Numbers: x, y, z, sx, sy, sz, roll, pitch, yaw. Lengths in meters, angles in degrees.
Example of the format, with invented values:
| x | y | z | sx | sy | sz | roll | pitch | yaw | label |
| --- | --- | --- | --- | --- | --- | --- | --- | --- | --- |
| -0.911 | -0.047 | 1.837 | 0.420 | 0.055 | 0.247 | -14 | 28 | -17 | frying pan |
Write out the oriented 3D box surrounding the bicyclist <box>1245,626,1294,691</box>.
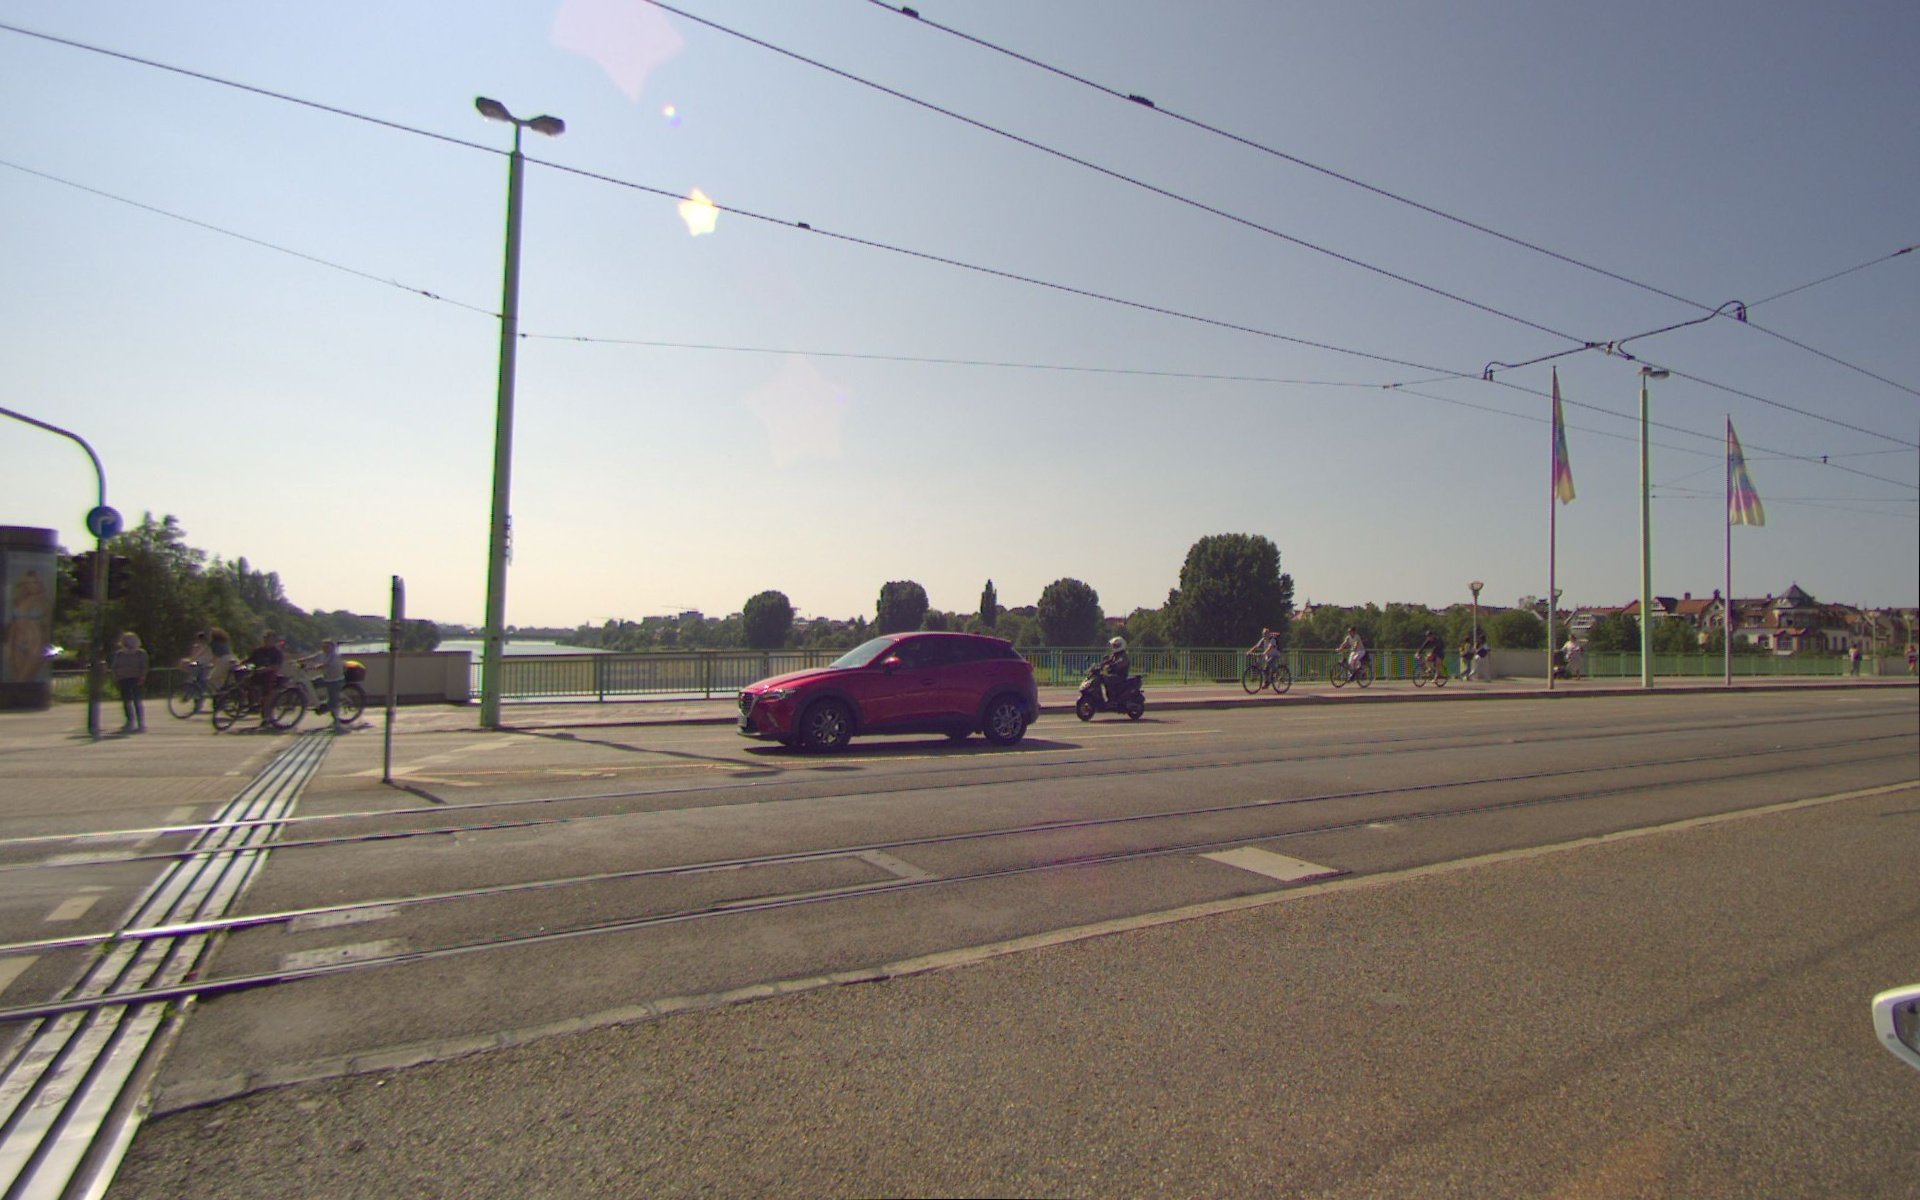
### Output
| x | y | z | sx | sy | sz | roll | pitch | yaw | label |
| --- | --- | --- | --- | --- | --- | --- | --- | --- | --- |
| 8.027 | 1.501 | 26.055 | 0.762 | 1.630 | 0.873 | -1 | -2 | -29 | bicyclist |

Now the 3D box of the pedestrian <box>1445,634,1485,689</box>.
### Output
| x | y | z | sx | sy | sz | roll | pitch | yaw | label |
| --- | --- | --- | --- | --- | --- | --- | --- | --- | --- |
| 17.802 | 2.144 | 35.413 | 1.109 | 1.874 | 0.734 | 1 | 1 | -33 | pedestrian |

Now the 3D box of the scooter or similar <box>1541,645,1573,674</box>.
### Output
| x | y | z | sx | sy | sz | roll | pitch | yaw | label |
| --- | --- | --- | --- | --- | --- | --- | --- | --- | --- |
| 22.738 | 2.247 | 38.229 | 0.824 | 1.043 | 0.734 | 1 | 1 | -33 | scooter or similar |

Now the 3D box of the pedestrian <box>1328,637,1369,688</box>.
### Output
| x | y | z | sx | sy | sz | roll | pitch | yaw | label |
| --- | --- | --- | --- | --- | --- | --- | --- | --- | --- |
| 11.441 | 1.837 | 29.595 | 0.889 | 1.474 | 0.739 | 2 | -2 | -31 | pedestrian |

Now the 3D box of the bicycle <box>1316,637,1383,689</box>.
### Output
| x | y | z | sx | sy | sz | roll | pitch | yaw | label |
| --- | --- | --- | --- | --- | --- | --- | --- | --- | --- |
| 11.492 | 1.830 | 29.611 | 2.140 | 1.418 | 0.700 | 1 | 2 | -34 | bicycle |

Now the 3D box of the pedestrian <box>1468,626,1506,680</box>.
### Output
| x | y | z | sx | sy | sz | roll | pitch | yaw | label |
| --- | --- | --- | --- | --- | --- | --- | --- | --- | --- |
| 18.256 | 1.827 | 34.798 | 0.947 | 1.808 | 0.734 | 1 | 1 | -33 | pedestrian |

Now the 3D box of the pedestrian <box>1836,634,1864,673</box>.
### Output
| x | y | z | sx | sy | sz | roll | pitch | yaw | label |
| --- | --- | --- | --- | --- | --- | --- | --- | --- | --- |
| 47.523 | 2.851 | 53.641 | 1.031 | 2.040 | 0.893 | 1 | -2 | -33 | pedestrian |

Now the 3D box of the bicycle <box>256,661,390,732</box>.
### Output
| x | y | z | sx | sy | sz | roll | pitch | yaw | label |
| --- | --- | --- | --- | --- | --- | --- | --- | --- | --- |
| -11.182 | 1.667 | 17.722 | 0.746 | 1.128 | 1.920 | 0 | -2 | 20 | bicycle |

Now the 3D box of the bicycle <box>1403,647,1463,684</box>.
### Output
| x | y | z | sx | sy | sz | roll | pitch | yaw | label |
| --- | --- | --- | --- | --- | --- | --- | --- | --- | --- |
| 14.614 | 2.014 | 31.025 | 1.898 | 1.128 | 0.755 | 2 | -2 | -31 | bicycle |

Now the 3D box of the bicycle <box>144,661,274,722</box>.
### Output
| x | y | z | sx | sy | sz | roll | pitch | yaw | label |
| --- | --- | --- | --- | --- | --- | --- | --- | --- | --- |
| -14.570 | 1.765 | 19.532 | 1.883 | 1.128 | 0.761 | 1 | -2 | -3 | bicycle |

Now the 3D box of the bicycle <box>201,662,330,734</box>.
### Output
| x | y | z | sx | sy | sz | roll | pitch | yaw | label |
| --- | --- | --- | --- | --- | --- | --- | --- | --- | --- |
| -12.171 | 1.689 | 17.681 | 0.746 | 1.128 | 1.922 | 0 | -2 | 8 | bicycle |

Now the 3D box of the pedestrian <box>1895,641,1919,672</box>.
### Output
| x | y | z | sx | sy | sz | roll | pitch | yaw | label |
| --- | --- | --- | --- | --- | --- | --- | --- | --- | --- |
| 53.551 | 3.207 | 56.823 | 1.163 | 1.745 | 0.750 | 2 | -2 | -33 | pedestrian |

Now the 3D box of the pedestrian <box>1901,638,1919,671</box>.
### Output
| x | y | z | sx | sy | sz | roll | pitch | yaw | label |
| --- | --- | --- | --- | --- | --- | --- | --- | --- | --- |
| 52.666 | 2.995 | 55.217 | 1.281 | 1.781 | 1.091 | 1 | -2 | -33 | pedestrian |

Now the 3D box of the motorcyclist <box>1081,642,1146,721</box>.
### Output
| x | y | z | sx | sy | sz | roll | pitch | yaw | label |
| --- | --- | --- | --- | --- | --- | --- | --- | --- | --- |
| 2.909 | 1.518 | 19.049 | 0.888 | 1.420 | 0.840 | 1 | -1 | -33 | motorcyclist |

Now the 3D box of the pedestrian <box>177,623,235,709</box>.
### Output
| x | y | z | sx | sy | sz | roll | pitch | yaw | label |
| --- | --- | --- | --- | --- | --- | --- | --- | --- | --- |
| -16.245 | 1.418 | 21.646 | 0.687 | 1.815 | 0.696 | -1 | -2 | 16 | pedestrian |

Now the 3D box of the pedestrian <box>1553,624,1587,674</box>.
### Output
| x | y | z | sx | sy | sz | roll | pitch | yaw | label |
| --- | --- | --- | --- | --- | --- | --- | --- | --- | --- |
| 23.506 | 1.867 | 38.718 | 0.965 | 1.878 | 0.734 | 1 | 1 | -33 | pedestrian |

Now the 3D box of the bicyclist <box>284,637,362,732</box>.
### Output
| x | y | z | sx | sy | sz | roll | pitch | yaw | label |
| --- | --- | --- | --- | --- | --- | --- | --- | --- | --- |
| -11.205 | 1.463 | 17.686 | 0.862 | 1.630 | 0.772 | 0 | -2 | 20 | bicyclist |

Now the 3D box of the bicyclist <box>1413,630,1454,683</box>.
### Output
| x | y | z | sx | sy | sz | roll | pitch | yaw | label |
| --- | --- | --- | --- | --- | --- | --- | --- | --- | --- |
| 14.633 | 1.735 | 31.053 | 0.763 | 1.630 | 0.873 | 2 | -2 | -31 | bicyclist |

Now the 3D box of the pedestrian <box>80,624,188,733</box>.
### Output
| x | y | z | sx | sy | sz | roll | pitch | yaw | label |
| --- | --- | --- | --- | --- | --- | --- | --- | --- | --- |
| -14.554 | 1.344 | 17.730 | 0.921 | 1.826 | 1.159 | 0 | 0 | 16 | pedestrian |

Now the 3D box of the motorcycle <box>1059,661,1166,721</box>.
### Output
| x | y | z | sx | sy | sz | roll | pitch | yaw | label |
| --- | --- | --- | --- | --- | --- | --- | --- | --- | --- |
| 2.894 | 1.698 | 19.033 | 1.930 | 1.038 | 0.840 | 1 | -1 | -33 | motorcycle |

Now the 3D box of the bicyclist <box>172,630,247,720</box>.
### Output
| x | y | z | sx | sy | sz | roll | pitch | yaw | label |
| --- | --- | --- | --- | --- | --- | --- | --- | --- | --- |
| -14.566 | 1.440 | 19.513 | 0.757 | 1.696 | 0.880 | 1 | -2 | -2 | bicyclist |

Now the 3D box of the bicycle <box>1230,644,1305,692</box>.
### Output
| x | y | z | sx | sy | sz | roll | pitch | yaw | label |
| --- | --- | --- | --- | --- | --- | --- | --- | --- | --- |
| 7.964 | 1.745 | 26.010 | 1.897 | 1.129 | 0.755 | -1 | 1 | -29 | bicycle |

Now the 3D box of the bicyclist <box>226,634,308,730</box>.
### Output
| x | y | z | sx | sy | sz | roll | pitch | yaw | label |
| --- | --- | --- | --- | --- | --- | --- | --- | --- | --- |
| -12.176 | 1.424 | 17.673 | 0.756 | 1.630 | 0.880 | 0 | -2 | 10 | bicyclist |

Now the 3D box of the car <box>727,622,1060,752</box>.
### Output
| x | y | z | sx | sy | sz | roll | pitch | yaw | label |
| --- | --- | --- | --- | --- | --- | --- | --- | --- | --- |
| -0.910 | 1.158 | 13.804 | 4.136 | 1.534 | 1.987 | 2 | -4 | -27 | car |
